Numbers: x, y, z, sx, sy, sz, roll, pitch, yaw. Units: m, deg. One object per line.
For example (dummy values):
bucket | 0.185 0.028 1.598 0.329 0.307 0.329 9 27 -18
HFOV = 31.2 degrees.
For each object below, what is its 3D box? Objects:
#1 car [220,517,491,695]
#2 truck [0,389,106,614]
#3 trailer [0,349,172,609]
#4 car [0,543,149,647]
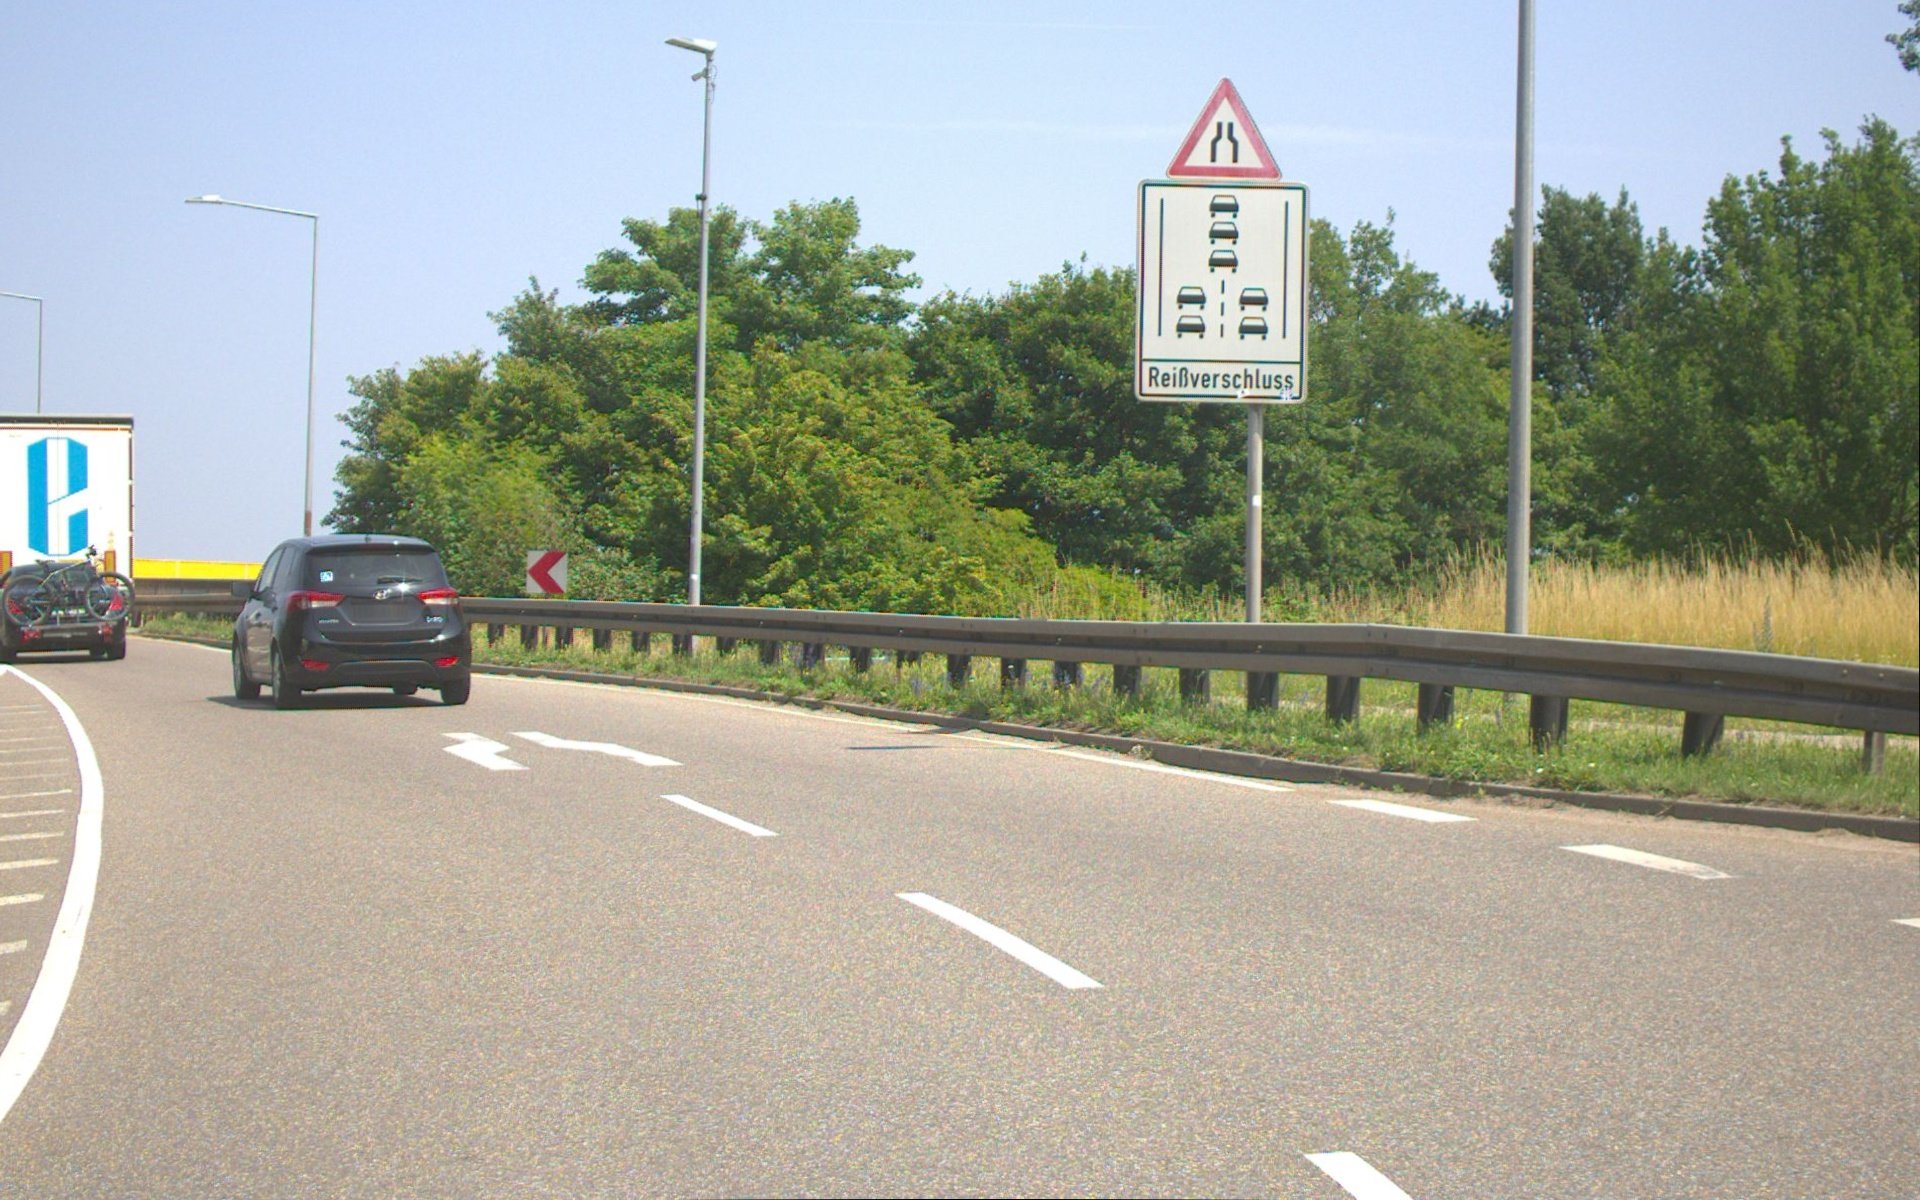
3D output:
car | -5.771 0.033 32.485 1.921 1.568 3.893 1 1 -19
truck | -19.923 -1.996 70.810 3.571 4.426 6.517 1 1 -22
trailer | -17.249 -2.128 63.840 3.569 4.369 11.444 1 1 -20
car | -12.866 -0.089 49.184 2.011 1.424 3.778 1 1 -20
